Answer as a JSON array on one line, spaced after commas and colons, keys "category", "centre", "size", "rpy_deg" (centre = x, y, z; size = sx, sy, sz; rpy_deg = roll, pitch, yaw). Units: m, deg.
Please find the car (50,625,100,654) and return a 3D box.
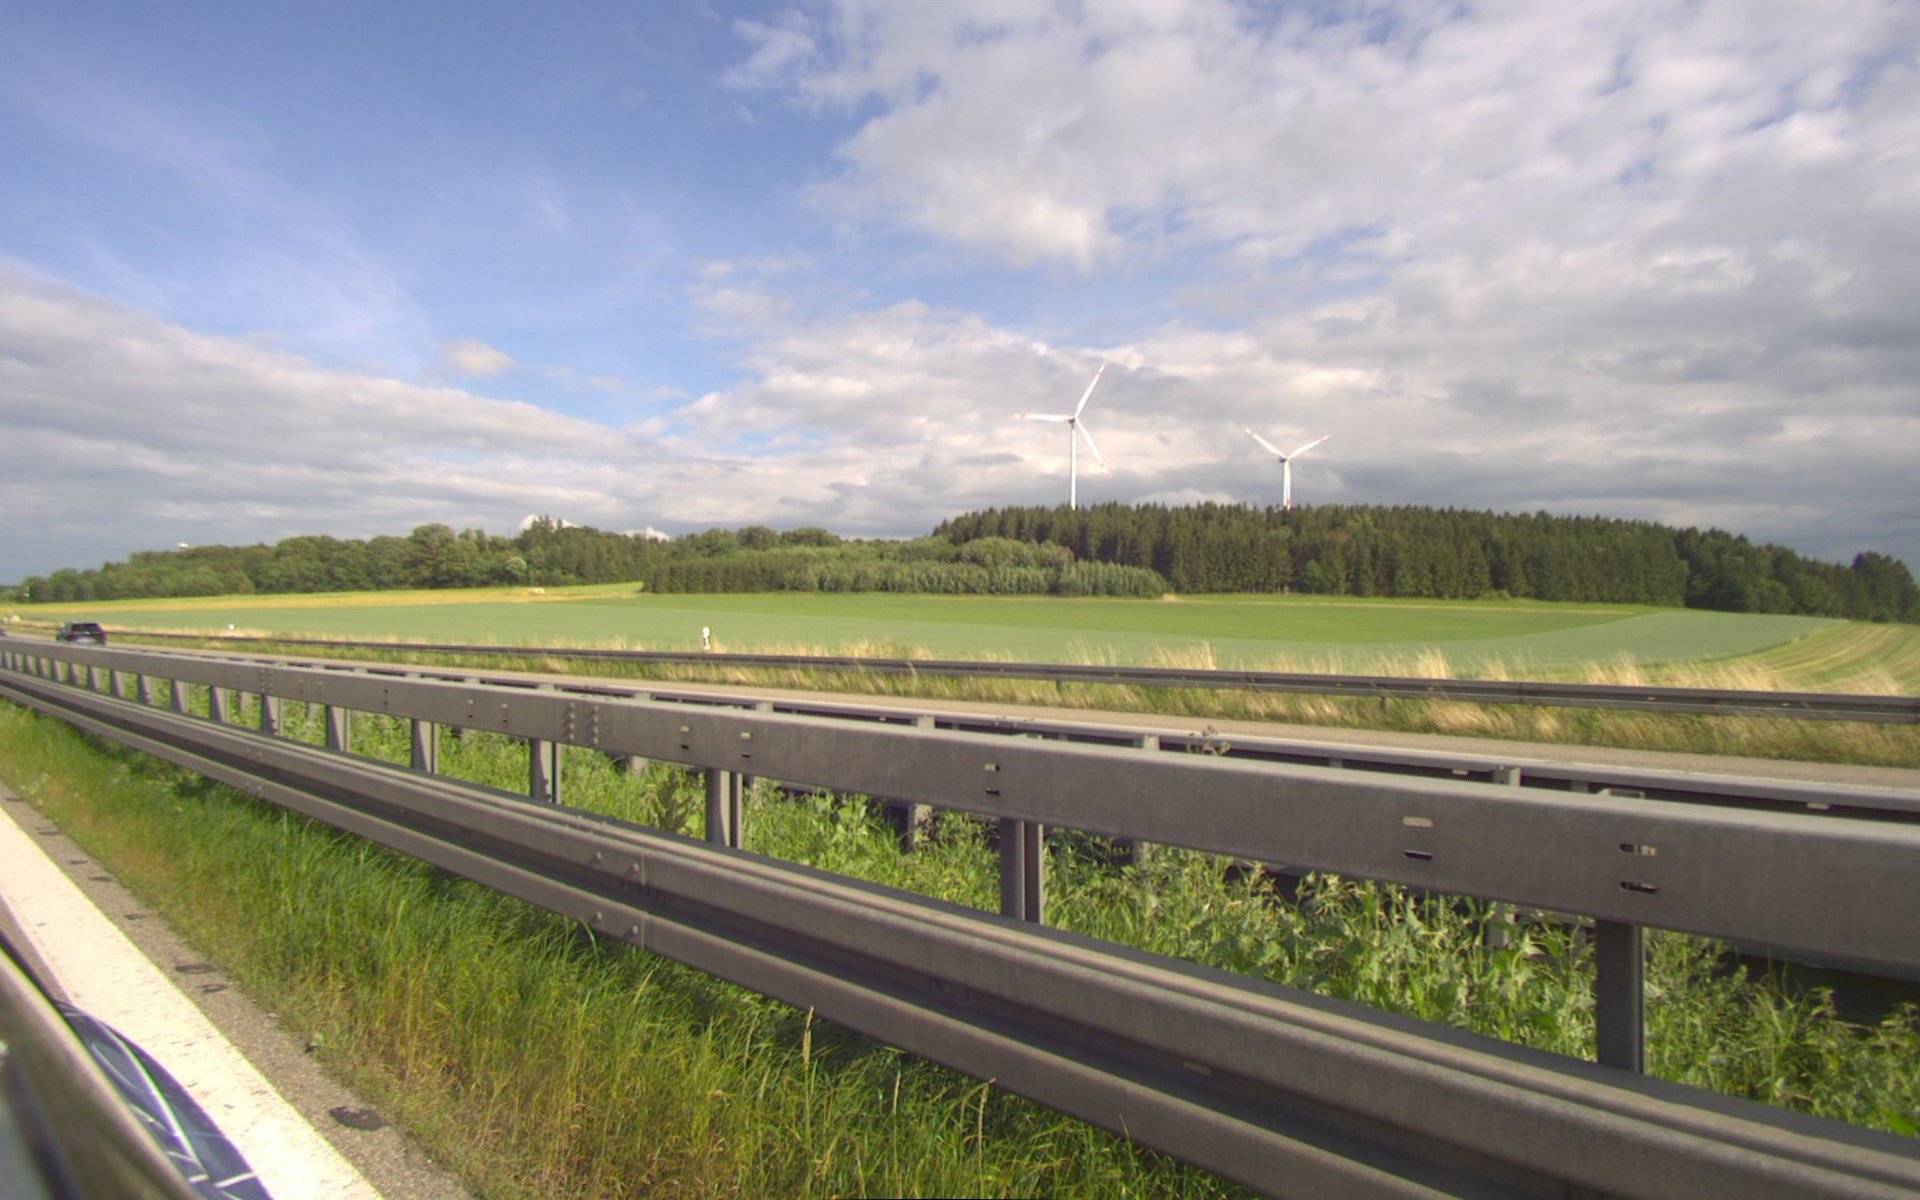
[{"category": "car", "centre": [-50.082, 2.200, 57.247], "size": [3.997, 1.532, 1.599], "rpy_deg": [-1, 0, 40]}]
